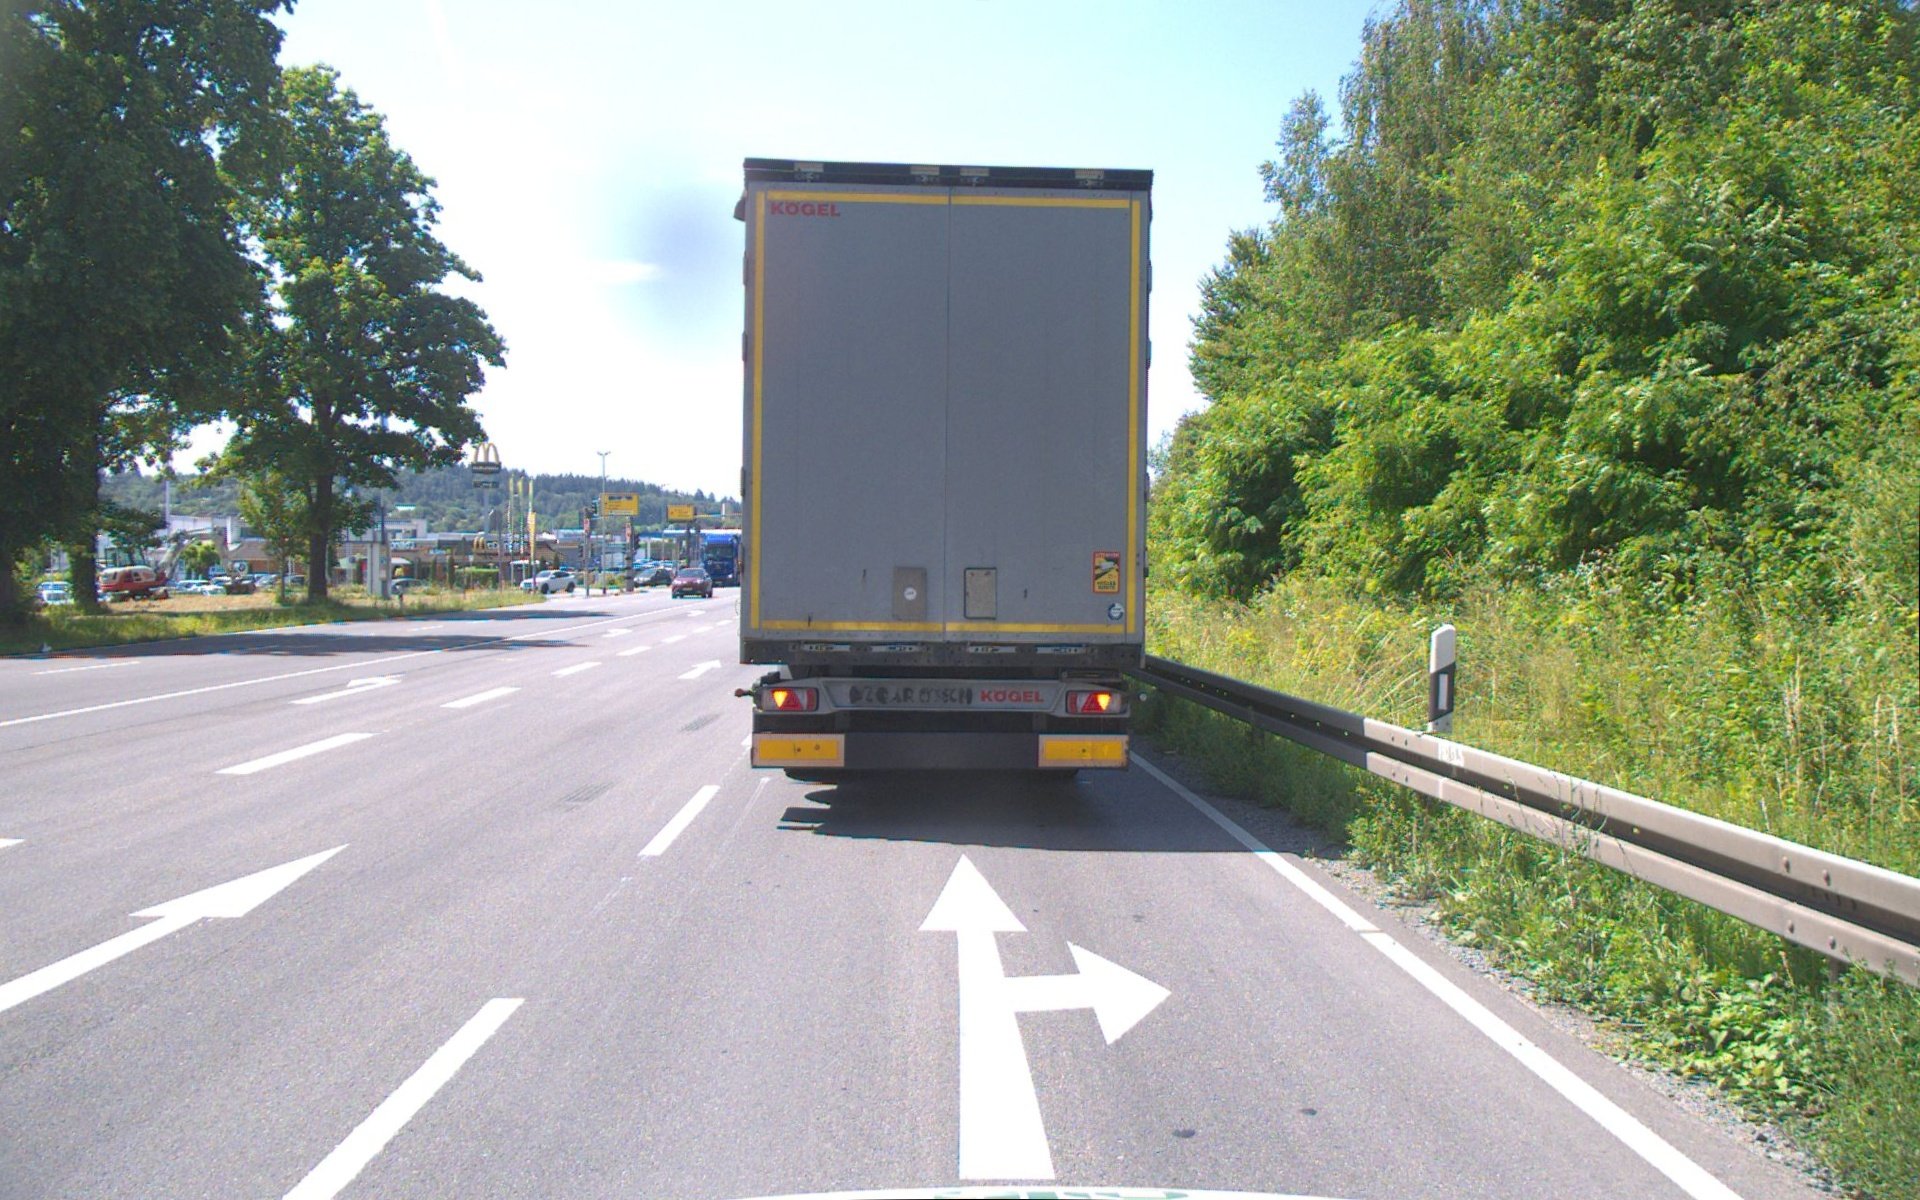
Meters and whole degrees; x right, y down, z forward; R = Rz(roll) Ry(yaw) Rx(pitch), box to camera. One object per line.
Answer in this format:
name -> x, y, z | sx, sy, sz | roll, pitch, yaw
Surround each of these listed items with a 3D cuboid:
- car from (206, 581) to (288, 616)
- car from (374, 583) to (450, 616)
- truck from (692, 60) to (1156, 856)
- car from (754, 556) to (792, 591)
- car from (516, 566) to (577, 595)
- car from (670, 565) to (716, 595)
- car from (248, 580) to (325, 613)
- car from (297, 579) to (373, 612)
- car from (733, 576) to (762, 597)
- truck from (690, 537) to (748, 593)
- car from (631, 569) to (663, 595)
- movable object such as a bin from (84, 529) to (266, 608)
car -> -35.234, -0.090, 81.680 | 3.919, 1.679, 1.993 | 1, 1, 35
car -> -28.940, -0.050, 87.320 | 3.919, 1.646, 1.834 | 1, 1, 35
truck -> -0.380, -0.857, 18.266 | 2.700, 4.720, 16.651 | 1, 0, -1
car -> -11.473, -1.616, 101.535 | 1.953, 2.049, 3.999 | 1, 1, -2
car -> -29.723, -1.384, 118.846 | 1.959, 2.049, 3.988 | 1, 1, 34
car -> -14.167, -1.059, 87.924 | 1.865, 1.535, 3.763 | 1, 0, -2
car -> -34.035, -0.195, 83.562 | 3.919, 1.646, 1.834 | 1, 1, 35
car -> -32.404, -0.230, 85.790 | 3.919, 1.646, 1.834 | 1, 1, 35
car -> -15.329, -0.968, 119.652 | 1.731, 1.410, 3.998 | 1, 0, -3
truck -> -19.273, -2.742, 133.299 | 2.908, 4.249, 16.568 | 0, 1, -2
car -> -25.097, -1.471, 132.558 | 1.953, 2.049, 3.998 | 0, 1, -2
movable object such as a bin -> -35.144, -1.428, 74.259 | 2.994, 3.356, 6.762 | 1, 1, 38
